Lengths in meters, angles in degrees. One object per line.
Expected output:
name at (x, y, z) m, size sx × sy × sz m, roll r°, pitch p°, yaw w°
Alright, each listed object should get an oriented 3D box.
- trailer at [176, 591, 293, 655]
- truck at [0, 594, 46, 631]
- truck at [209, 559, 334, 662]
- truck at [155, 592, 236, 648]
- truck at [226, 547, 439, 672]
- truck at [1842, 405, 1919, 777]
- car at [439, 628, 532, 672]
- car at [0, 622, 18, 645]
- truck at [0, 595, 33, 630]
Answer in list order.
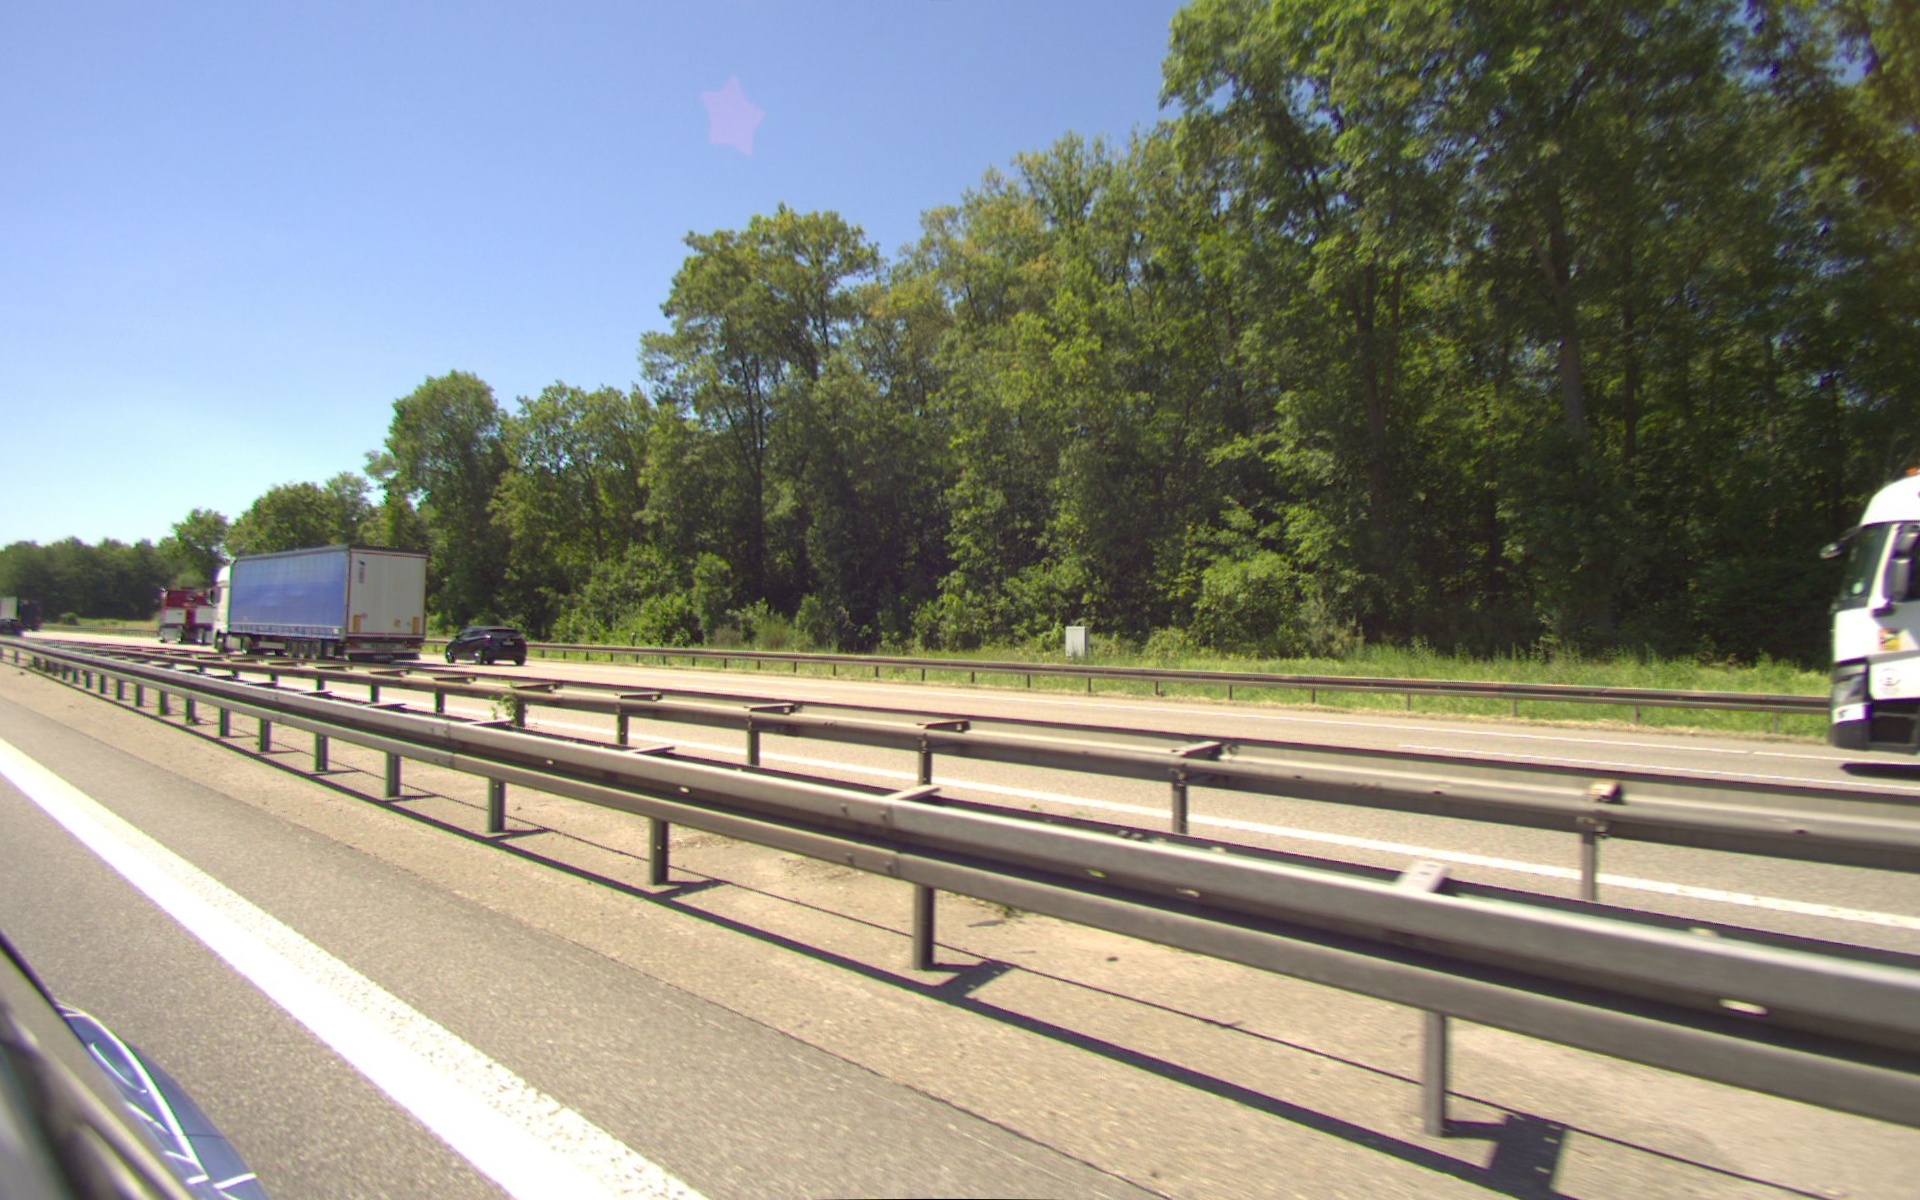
trailer at (-43.016, 1.301, 59.691) m, size 13.285 × 3.419 × 2.750 m, roll -1°, pitch 0°, yaw 42°
truck at (-116.856, 1.555, 125.693) m, size 13.903 × 4.374 × 3.289 m, roll -1°, pitch 0°, yaw 41°
truck at (-29.267, 0.417, 42.922) m, size 6.038 × 4.049 × 2.956 m, roll -1°, pitch 0°, yaw 41°
truck at (-49.475, 1.272, 65.426) m, size 7.658 × 3.419 × 2.720 m, roll -1°, pitch 0°, yaw 42°
truck at (-24.318, 0.364, 38.616) m, size 13.929 × 4.049 × 2.956 m, roll -1°, pitch 0°, yaw 41°
truck at (13.462, -0.049, 10.479) m, size 6.456 × 4.093 × 2.938 m, roll -1°, pitch -4°, yaw 41°
car at (-17.993, 1.850, 38.320) m, size 4.010 × 1.547 × 1.805 m, roll -1°, pitch -2°, yaw 43°
car at (-68.609, 2.380, 72.103) m, size 4.667 × 1.603 × 1.788 m, roll -1°, pitch 0°, yaw 42°
truck at (-121.997, 1.610, 130.161) m, size 6.609 × 4.374 × 3.289 m, roll -1°, pitch 0°, yaw 41°
